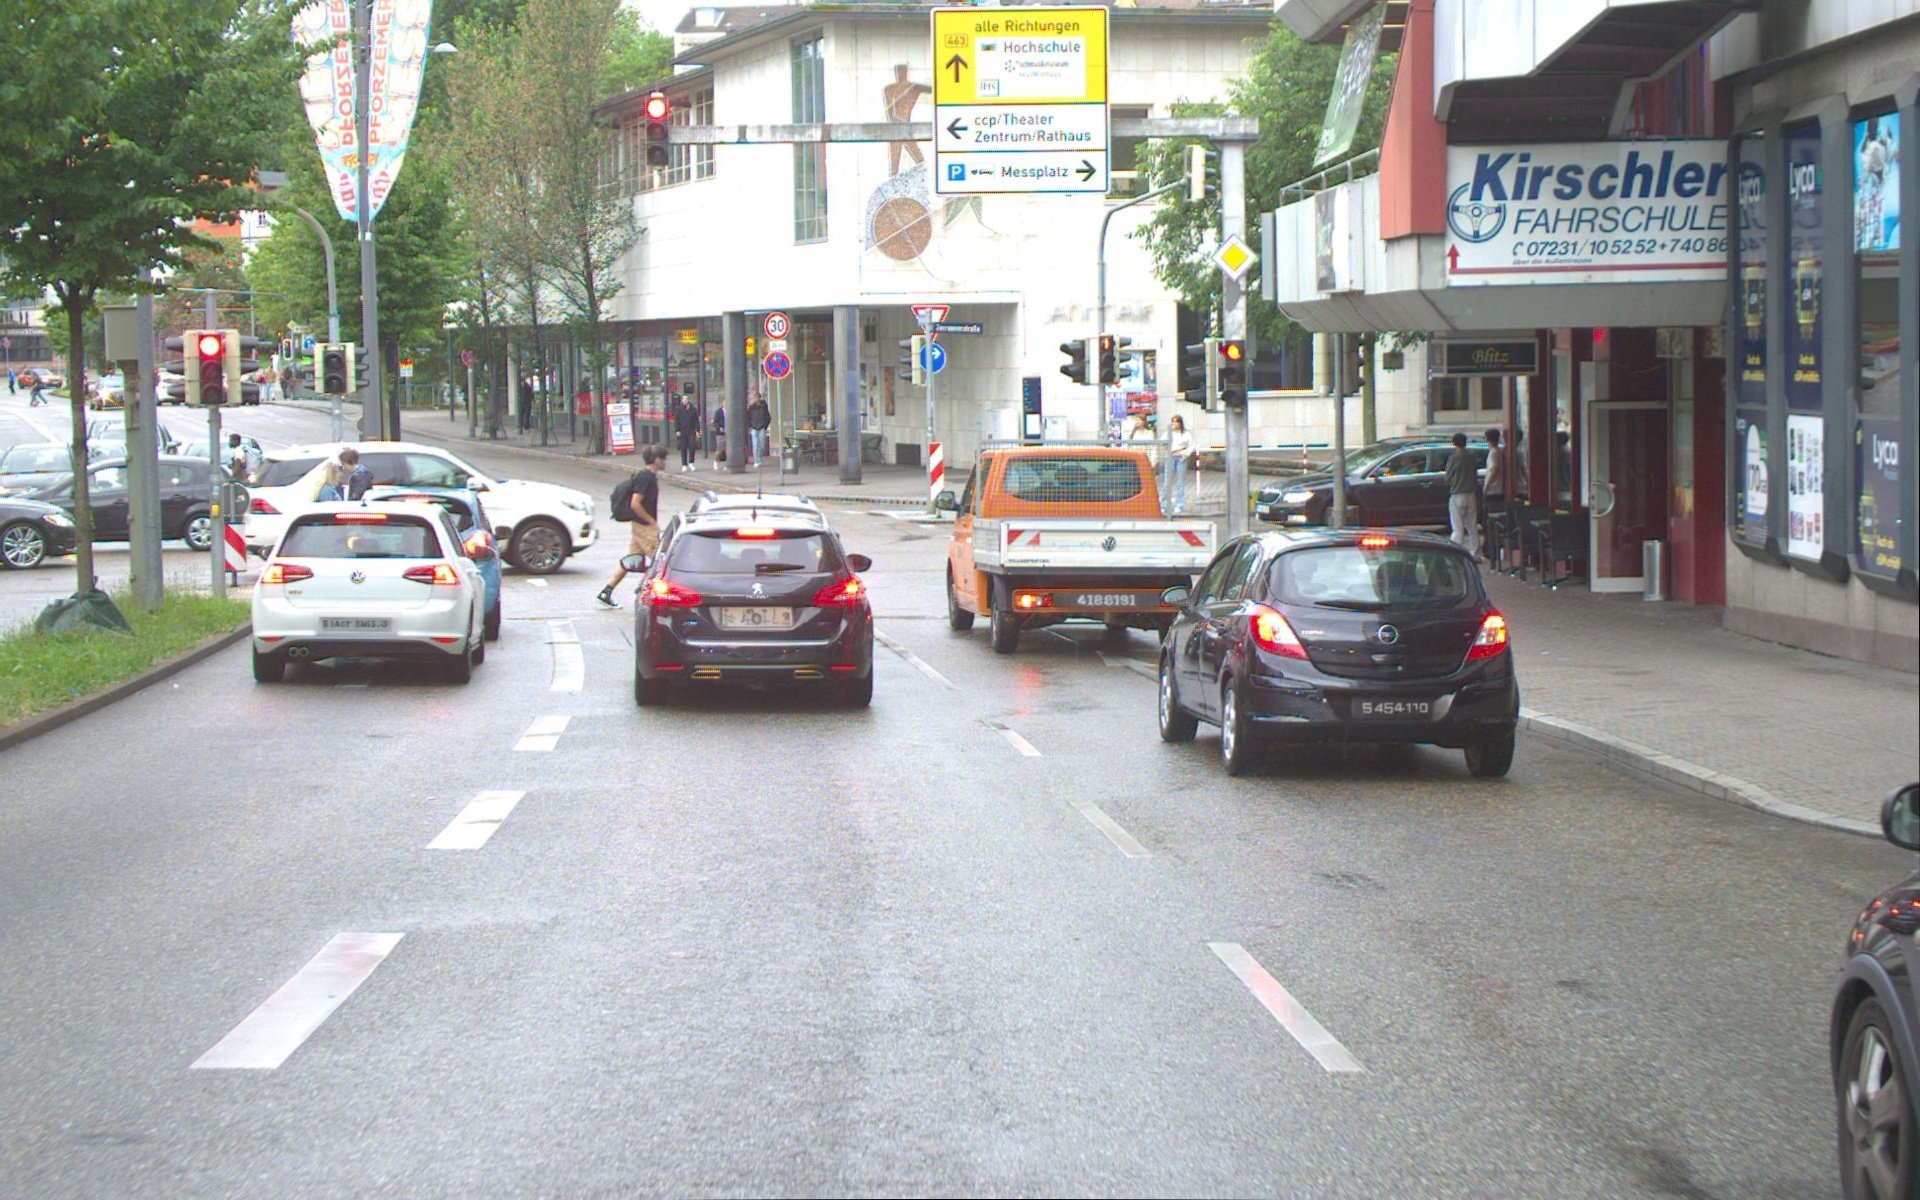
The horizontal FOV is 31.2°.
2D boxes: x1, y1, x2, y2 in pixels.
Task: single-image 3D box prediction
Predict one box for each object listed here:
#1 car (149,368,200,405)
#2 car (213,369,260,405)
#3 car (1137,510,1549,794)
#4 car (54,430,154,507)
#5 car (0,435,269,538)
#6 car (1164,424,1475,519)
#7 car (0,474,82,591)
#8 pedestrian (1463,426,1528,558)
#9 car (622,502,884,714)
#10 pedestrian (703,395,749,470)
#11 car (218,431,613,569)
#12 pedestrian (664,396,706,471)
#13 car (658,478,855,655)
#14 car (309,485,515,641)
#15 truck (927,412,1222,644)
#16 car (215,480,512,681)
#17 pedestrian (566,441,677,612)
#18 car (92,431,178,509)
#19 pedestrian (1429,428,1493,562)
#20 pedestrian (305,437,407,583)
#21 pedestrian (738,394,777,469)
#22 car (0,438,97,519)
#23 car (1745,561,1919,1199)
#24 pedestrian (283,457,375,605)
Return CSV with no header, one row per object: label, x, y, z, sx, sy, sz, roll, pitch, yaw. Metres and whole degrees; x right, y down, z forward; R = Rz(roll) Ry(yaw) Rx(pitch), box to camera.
car,-36.842,-9.996,161.177,1.993,1.590,4.001,-1,2,-18
car,-34.363,-10.087,163.232,1.831,1.583,3.875,-1,2,-16
car,2.283,0.244,21.547,1.950,1.568,4.001,0,2,-3
car,-17.773,-2.727,71.502,1.777,1.543,4.001,-1,2,-11
car,-12.793,-1.751,53.059,3.986,1.522,1.848,-1,2,-6
car,5.607,-2.003,53.774,4.396,1.432,2.001,-1,2,-17
car,-14.867,-0.975,48.579,4.681,1.638,1.787,0,1,-17
pedestrian,6.990,-1.409,44.875,0.575,1.694,0.651,-2,2,-16
car,-1.679,0.005,26.665,1.811,1.436,4.001,1,3,-6
pedestrian,-5.775,-4.122,84.897,0.846,1.796,1.056,-2,2,-17
car,-7.346,-1.326,46.221,5.070,1.753,2.001,0,1,-14
pedestrian,-6.805,-4.110,85.036,0.798,1.796,0.918,-2,2,-17
car,-2.013,-0.374,33.085,1.760,1.537,4.001,-1,3,-5
car,-5.495,-0.423,34.875,1.794,1.463,4.001,-1,2,-5
truck,1.014,-0.741,33.869,2.183,2.075,5.605,-1,2,-5
car,-4.958,-0.222,29.074,1.950,1.568,4.001,0,2,-2
pedestrian,-3.810,-0.835,38.756,1.063,1.875,0.838,-2,2,4
car,-18.737,-2.941,78.180,1.705,1.714,4.001,-1,2,-11
pedestrian,6.463,-1.349,44.357,0.575,1.694,0.651,-2,2,-12
pedestrian,-7.322,-1.092,41.715,1.010,1.716,0.838,-2,2,3
pedestrian,-5.022,-4.171,85.244,0.702,1.796,0.939,-2,2,-17
car,-17.081,-2.247,63.882,1.706,1.446,3.863,-1,2,-10
car,2.638,0.665,5.780,1.717,1.415,3.770,-1,2,-1
pedestrian,-7.479,-0.822,40.772,0.835,1.716,0.818,-2,2,4
